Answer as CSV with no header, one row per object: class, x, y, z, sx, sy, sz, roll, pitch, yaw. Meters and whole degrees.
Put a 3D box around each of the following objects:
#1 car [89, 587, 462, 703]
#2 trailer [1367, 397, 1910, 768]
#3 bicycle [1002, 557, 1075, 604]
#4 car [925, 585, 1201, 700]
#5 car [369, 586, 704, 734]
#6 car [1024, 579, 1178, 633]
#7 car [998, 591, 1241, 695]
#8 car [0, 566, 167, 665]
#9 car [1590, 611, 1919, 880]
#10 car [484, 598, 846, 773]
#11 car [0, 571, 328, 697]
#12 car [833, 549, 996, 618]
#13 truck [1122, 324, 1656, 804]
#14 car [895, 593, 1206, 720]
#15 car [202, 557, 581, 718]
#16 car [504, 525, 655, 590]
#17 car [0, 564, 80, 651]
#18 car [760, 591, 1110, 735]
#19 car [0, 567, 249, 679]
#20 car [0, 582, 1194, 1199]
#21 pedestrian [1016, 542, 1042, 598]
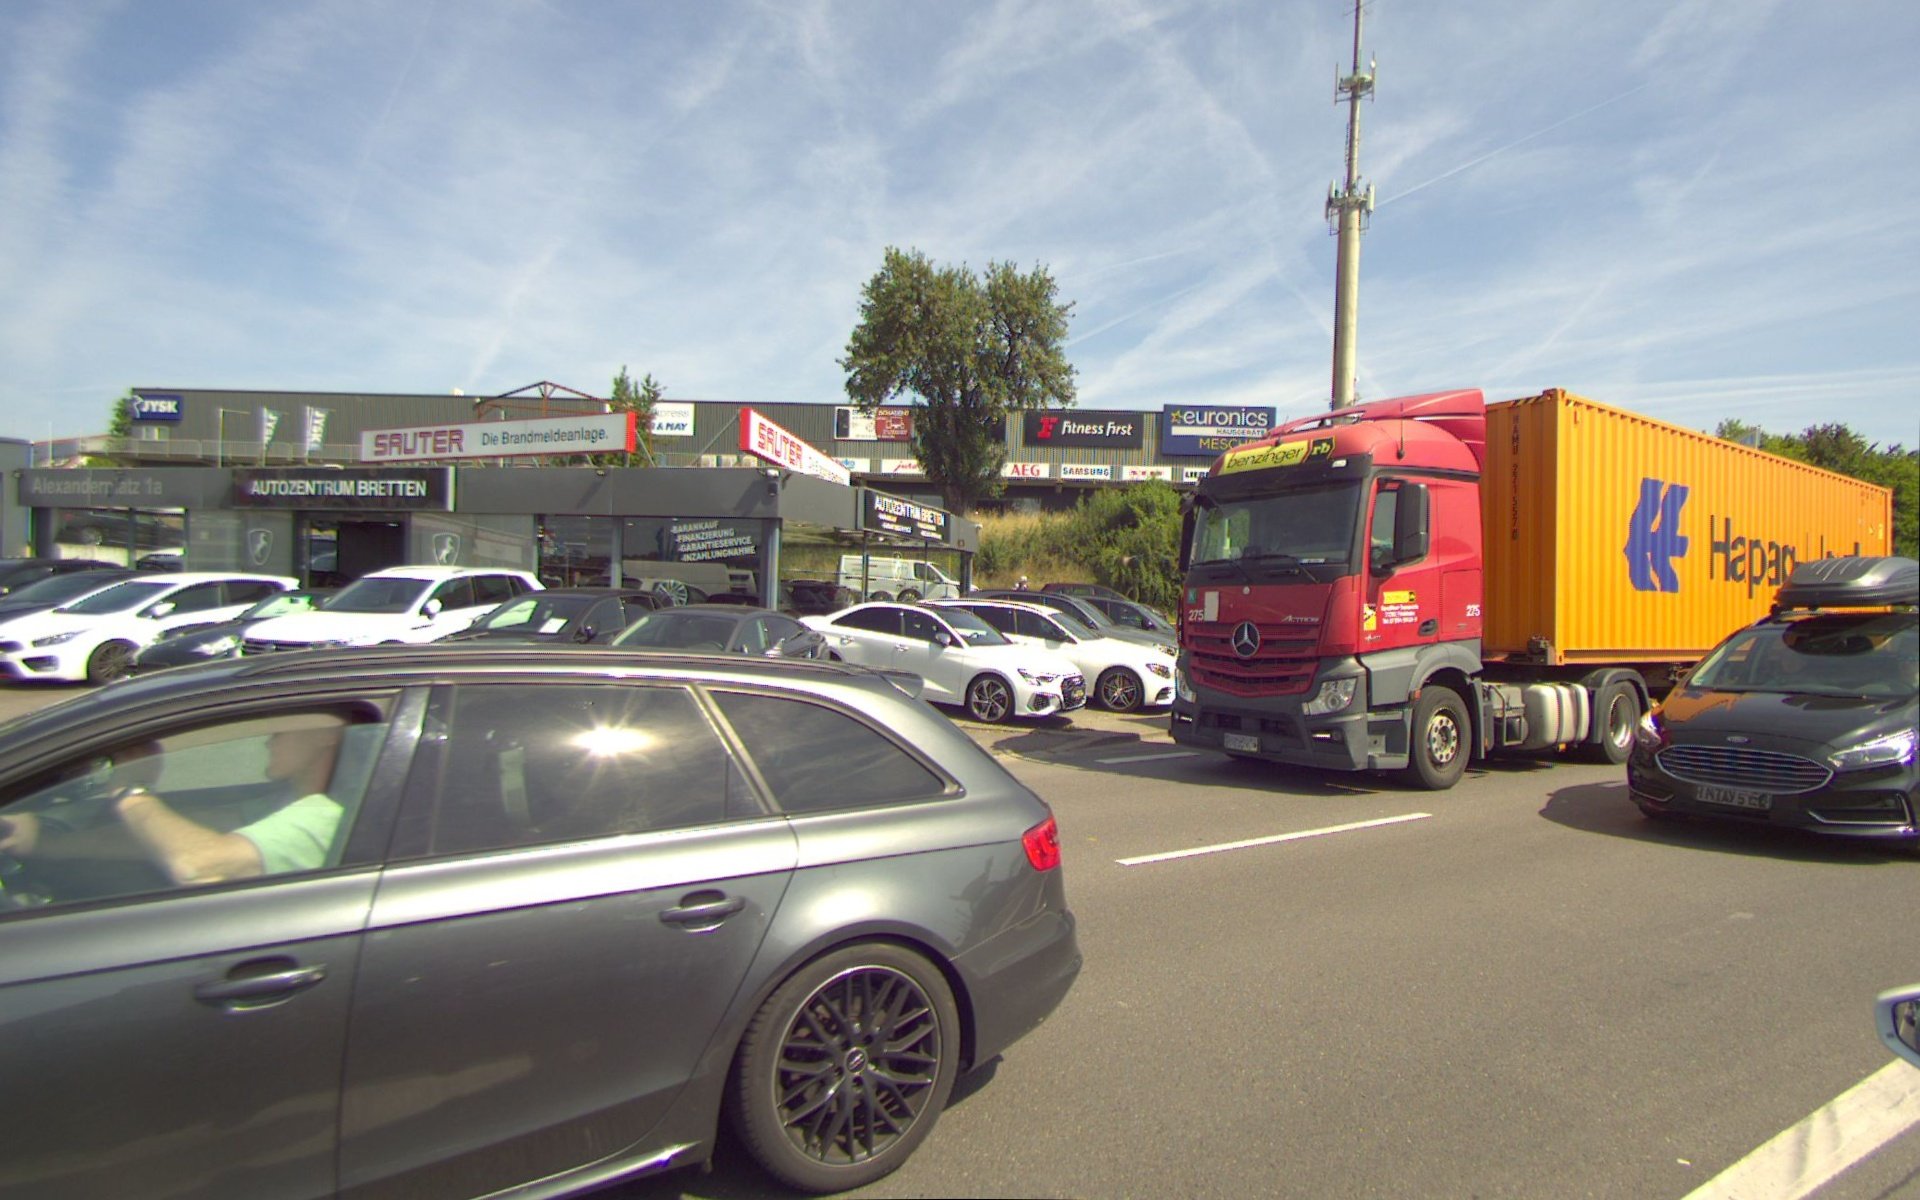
car,-9.578,0.524,14.548,1.728,1.346,4.345,2,1,16
trailer,11.132,-0.048,15.544,12.110,4.051,2.703,2,0,-35
bicycle,2.195,-0.556,28.334,0.587,1.042,2.193,2,7,-42
car,1.932,0.717,18.679,4.702,1.647,1.932,4,1,18
car,-5.130,0.602,12.920,1.762,1.507,4.346,2,1,13
car,4.789,0.195,33.975,4.874,1.437,1.950,4,0,16
car,3.305,0.803,20.638,4.647,1.647,1.890,4,2,16
car,-16.024,0.220,16.761,1.774,1.544,4.099,2,1,16
car,7.219,0.929,8.104,4.539,1.623,1.897,1,-1,-33
car,-3.032,0.769,11.562,1.934,1.455,4.643,2,1,13
car,-11.834,0.385,14.778,1.791,1.544,4.144,2,1,16
car,-1.614,-0.623,36.174,5.404,2.069,2.069,4,2,16
truck,4.984,-0.236,11.299,5.995,4.051,2.703,2,0,-34
car,1.484,0.816,16.320,4.623,1.533,1.955,4,2,20
car,-7.429,0.381,13.741,1.855,1.772,4.470,2,1,16
car,-10.925,-1.179,29.196,1.960,1.583,4.072,3,0,17
car,-18.457,0.133,17.514,1.855,1.544,4.344,2,1,19
car,-0.398,0.780,14.433,4.628,1.495,1.891,5,2,27
car,-13.937,0.287,15.795,1.779,1.544,4.345,2,1,16
car,-1.668,0.763,2.717,4.537,1.544,1.851,1,-1,-32
pedestrian,1.978,-0.854,28.931,0.492,1.555,0.380,1,5,-42
